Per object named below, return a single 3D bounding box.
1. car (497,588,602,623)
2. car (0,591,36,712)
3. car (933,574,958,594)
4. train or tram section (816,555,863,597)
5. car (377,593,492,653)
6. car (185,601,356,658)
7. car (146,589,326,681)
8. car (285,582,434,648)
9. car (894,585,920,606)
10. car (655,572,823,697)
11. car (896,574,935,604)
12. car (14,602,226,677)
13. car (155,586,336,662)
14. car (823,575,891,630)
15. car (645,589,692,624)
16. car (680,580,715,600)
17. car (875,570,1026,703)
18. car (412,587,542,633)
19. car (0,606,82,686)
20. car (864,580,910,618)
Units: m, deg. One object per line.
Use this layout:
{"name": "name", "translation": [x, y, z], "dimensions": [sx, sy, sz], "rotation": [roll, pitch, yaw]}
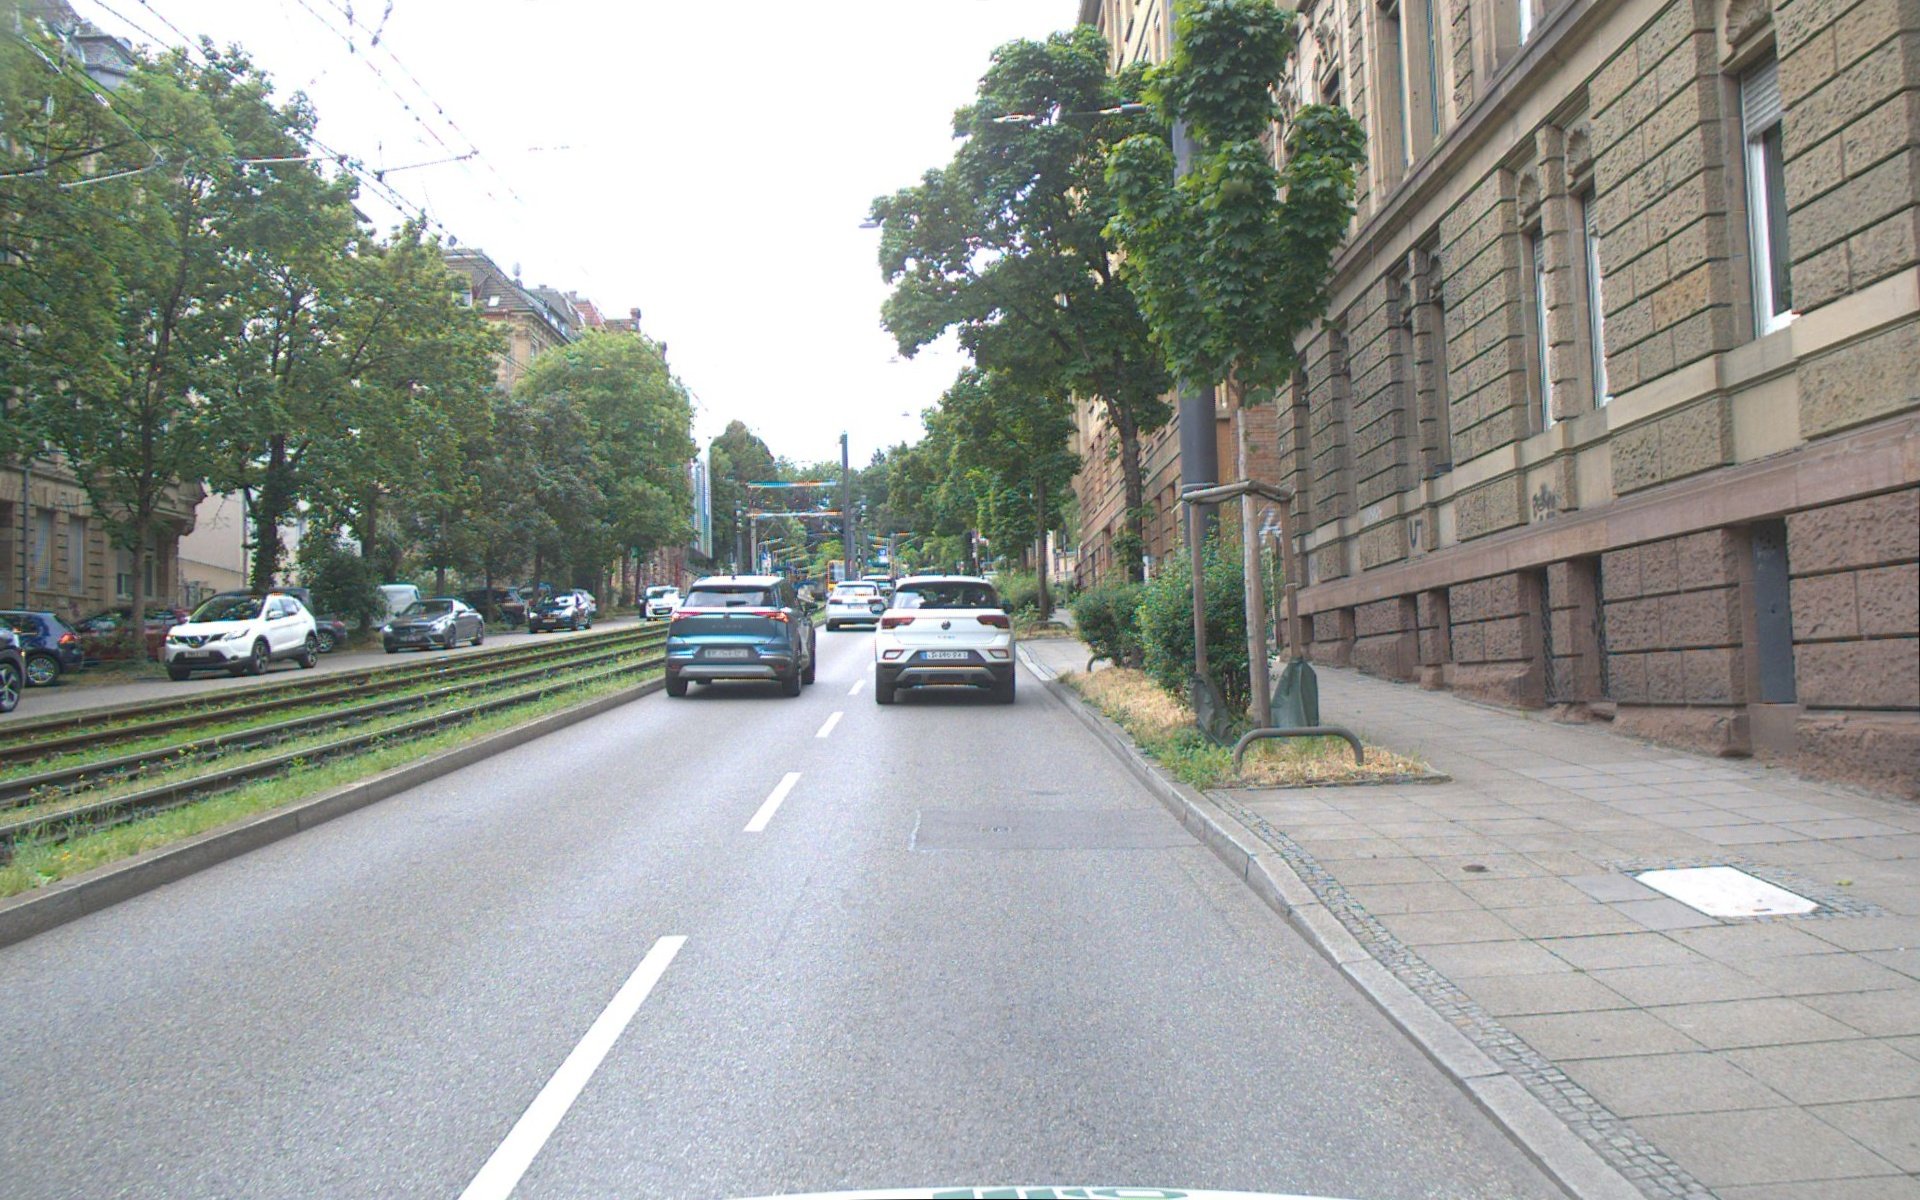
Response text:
{"name": "car", "translation": [-19.731, 0.241, 79.554], "dimensions": [4.554, 1.645, 1.913], "rotation": [0, 0, -35]}
{"name": "car", "translation": [-14.199, 0.778, 21.666], "dimensions": [1.744, 1.685, 4.242], "rotation": [-3, 1, -1]}
{"name": "car", "translation": [-1.187, -1.308, 134.044], "dimensions": [2.026, 1.573, 4.193], "rotation": [0, 0, 0]}
{"name": "train or tram section", "translation": [-10.428, -2.042, 144.347], "dimensions": [2.934, 3.407, 13.439], "rotation": [-2, 0, 0]}
{"name": "car", "translation": [-14.536, 0.599, 46.014], "dimensions": [1.690, 1.434, 4.597], "rotation": [-3, 1, -1]}
{"name": "car", "translation": [-19.097, 0.783, 45.837], "dimensions": [4.135, 1.363, 1.852], "rotation": [-2, 1, -31]}
{"name": "car", "translation": [-14.721, 0.658, 33.910], "dimensions": [1.744, 1.644, 4.345], "rotation": [-3, 1, -1]}
{"name": "car", "translation": [-18.768, 0.456, 51.711], "dimensions": [4.130, 1.868, 1.855], "rotation": [-2, 1, -28]}
{"name": "car", "translation": [-4.071, -0.358, 127.045], "dimensions": [2.026, 1.573, 4.192], "rotation": [0, 0, -2]}
{"name": "car", "translation": [-2.974, 0.419, 23.028], "dimensions": [1.798, 1.573, 4.193], "rotation": [0, 0, 0]}
{"name": "car", "translation": [-2.400, -0.610, 89.051], "dimensions": [2.026, 1.573, 4.192], "rotation": [0, 0, -2]}
{"name": "car", "translation": [-18.920, 0.852, 37.292], "dimensions": [4.135, 1.460, 1.852], "rotation": [-2, 1, -31]}
{"name": "car", "translation": [-18.729, 0.597, 43.380], "dimensions": [4.135, 1.798, 1.852], "rotation": [-2, 1, -31]}
{"name": "car", "translation": [-3.078, 0.057, 50.162], "dimensions": [1.798, 1.573, 4.193], "rotation": [0, 0, 0]}
{"name": "car", "translation": [-13.397, 0.296, 76.178], "dimensions": [1.556, 1.460, 3.412], "rotation": [-3, 1, -2]}
{"name": "car", "translation": [-19.957, -0.787, 125.910], "dimensions": [1.953, 1.427, 4.000], "rotation": [-2, 0, 0]}
{"name": "car", "translation": [-0.169, 0.412, 21.751], "dimensions": [1.798, 1.573, 4.192], "rotation": [0, 0, -2]}
{"name": "car", "translation": [-18.844, 0.369, 64.549], "dimensions": [4.552, 1.711, 1.913], "rotation": [0, 0, -34]}
{"name": "car", "translation": [-19.035, 0.915, 31.168], "dimensions": [4.149, 1.460, 1.846], "rotation": [-2, 1, -38]}
{"name": "car", "translation": [-3.049, -0.047, 70.079], "dimensions": [1.798, 1.573, 4.193], "rotation": [0, 0, 0]}
